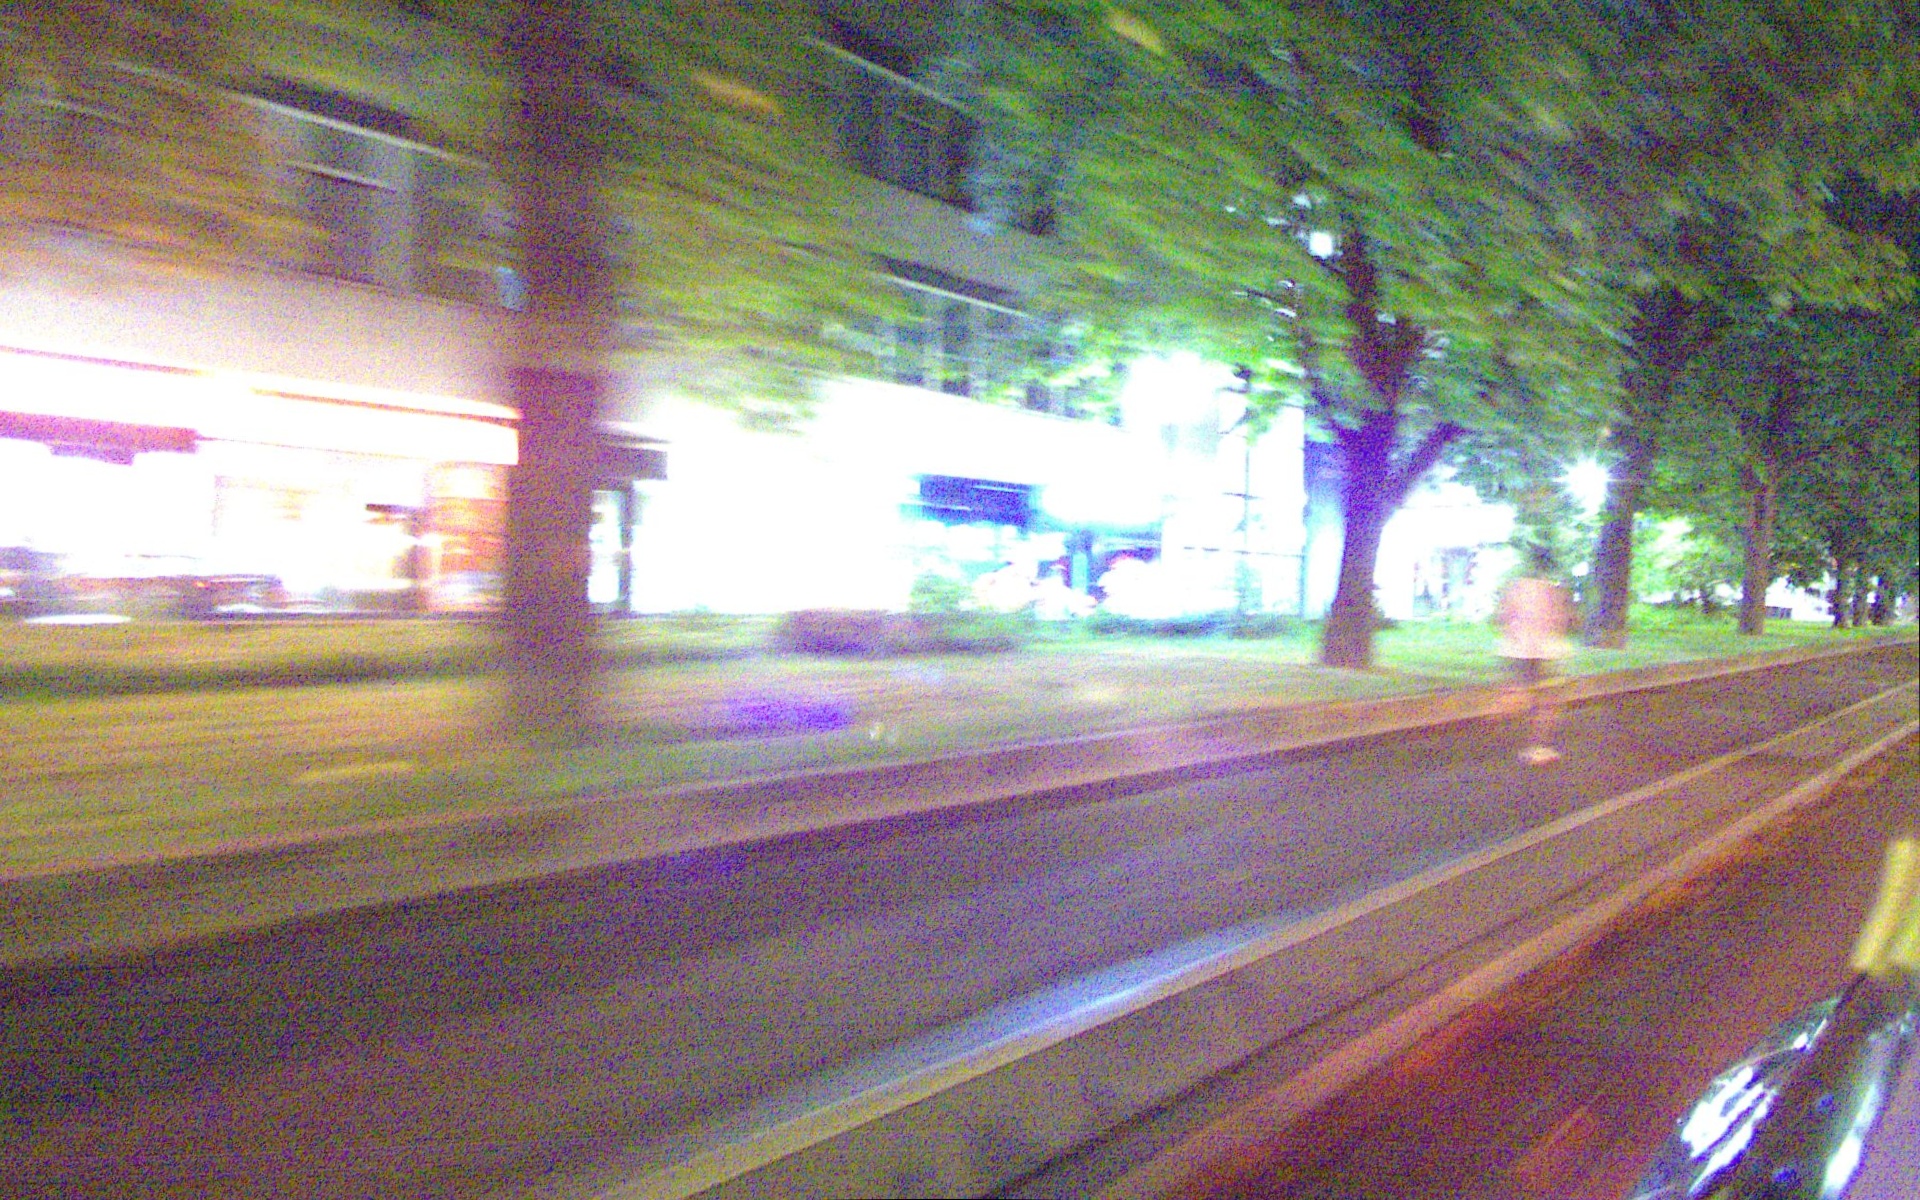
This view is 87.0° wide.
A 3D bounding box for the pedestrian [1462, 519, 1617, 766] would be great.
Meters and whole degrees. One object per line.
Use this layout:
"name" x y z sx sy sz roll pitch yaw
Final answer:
"pedestrian" 4.667 0.305 8.148 1.063 1.841 0.704 1 2 -40
